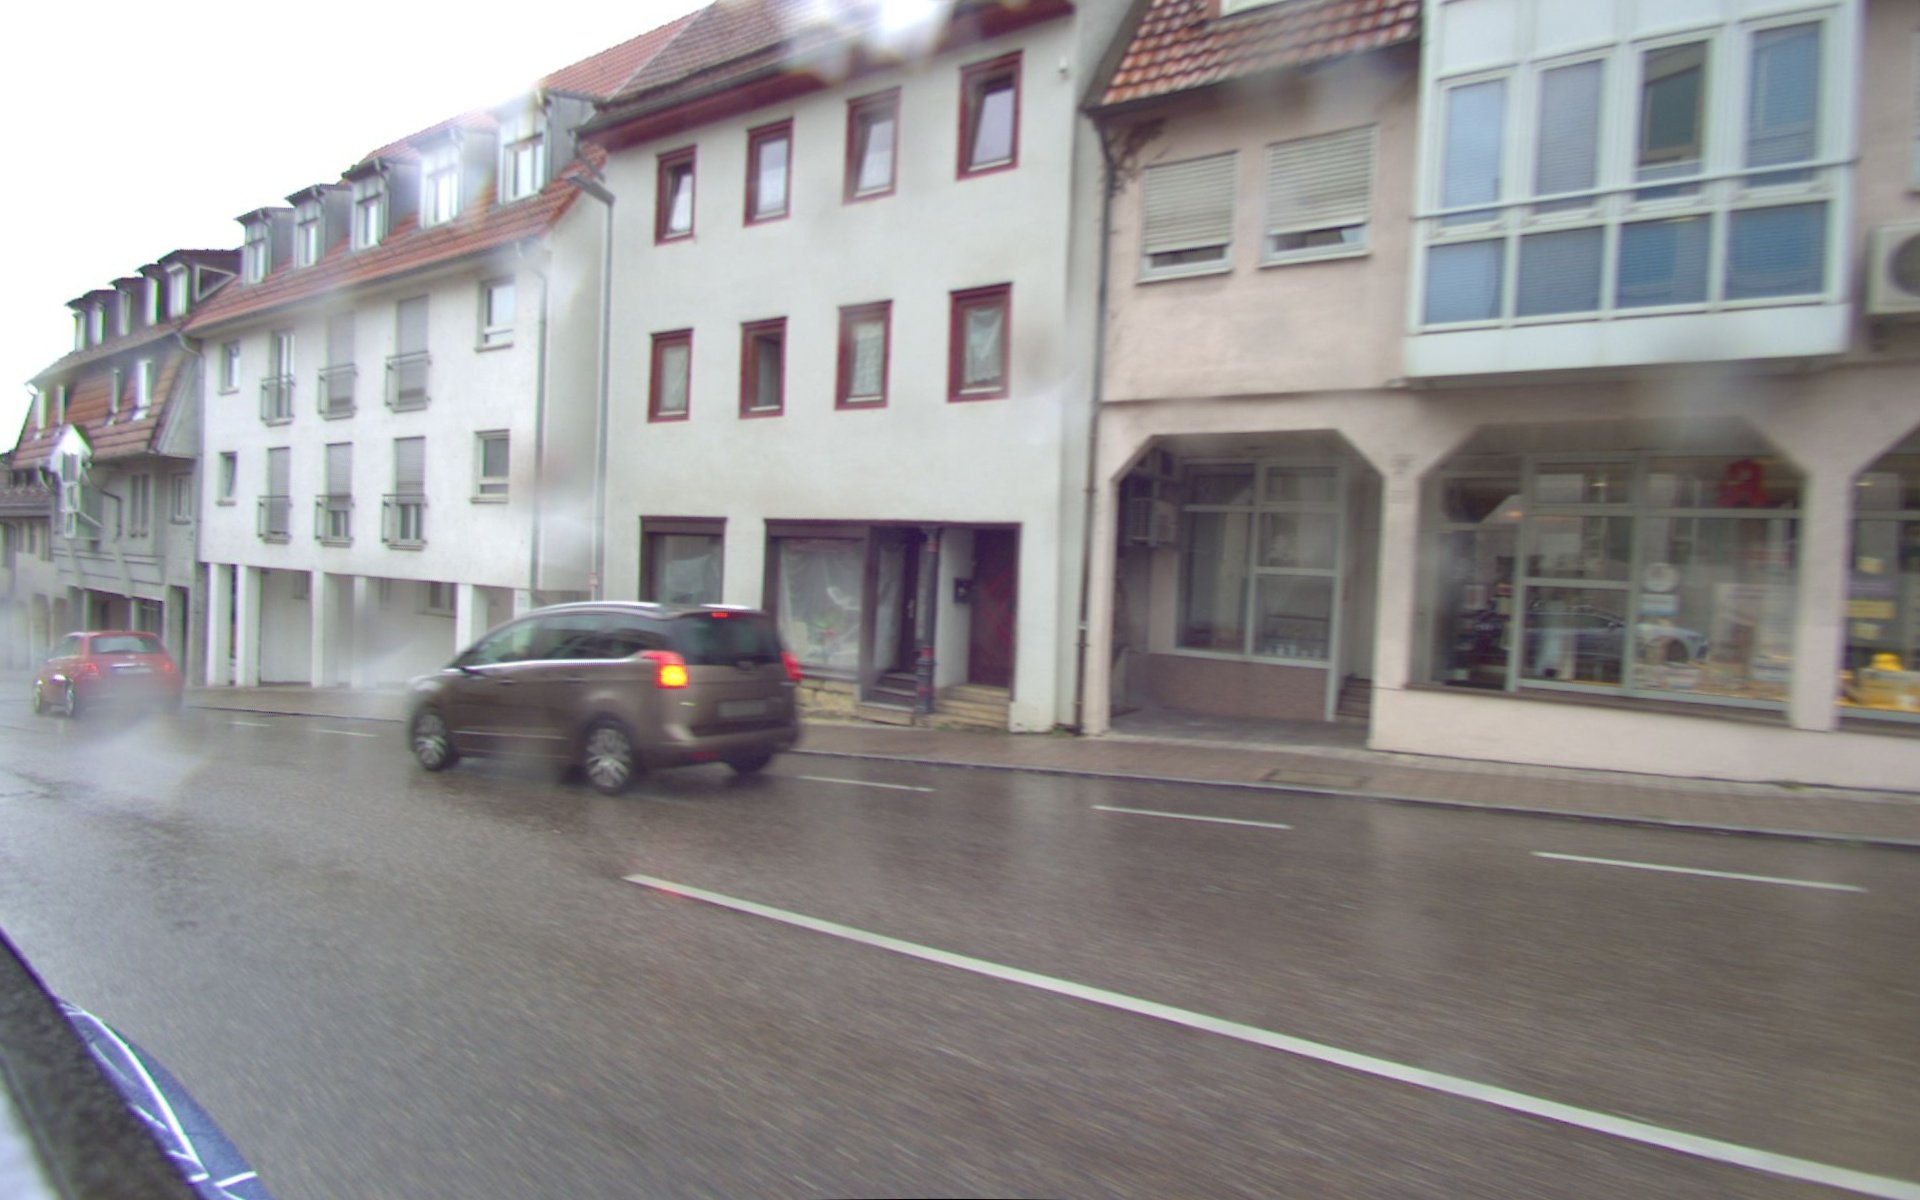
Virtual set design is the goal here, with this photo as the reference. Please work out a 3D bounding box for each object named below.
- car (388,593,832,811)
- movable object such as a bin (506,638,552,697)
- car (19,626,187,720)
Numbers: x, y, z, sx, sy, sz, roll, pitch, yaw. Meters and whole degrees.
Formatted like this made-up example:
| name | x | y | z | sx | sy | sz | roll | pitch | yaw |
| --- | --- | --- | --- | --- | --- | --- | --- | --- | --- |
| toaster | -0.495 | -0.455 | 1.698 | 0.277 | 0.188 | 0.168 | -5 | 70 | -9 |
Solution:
| name | x | y | z | sx | sy | sz | roll | pitch | yaw |
| --- | --- | --- | --- | --- | --- | --- | --- | --- | --- |
| car | -3.389 | 0.817 | 9.538 | 4.203 | 1.642 | 1.768 | -1 | -1 | 33 |
| movable object such as a bin | -7.660 | 1.196 | 17.998 | 0.583 | 1.014 | 0.504 | -2 | -1 | 34 |
| car | -15.630 | 1.273 | 18.420 | 3.442 | 1.547 | 1.545 | -2 | -3 | 36 |
